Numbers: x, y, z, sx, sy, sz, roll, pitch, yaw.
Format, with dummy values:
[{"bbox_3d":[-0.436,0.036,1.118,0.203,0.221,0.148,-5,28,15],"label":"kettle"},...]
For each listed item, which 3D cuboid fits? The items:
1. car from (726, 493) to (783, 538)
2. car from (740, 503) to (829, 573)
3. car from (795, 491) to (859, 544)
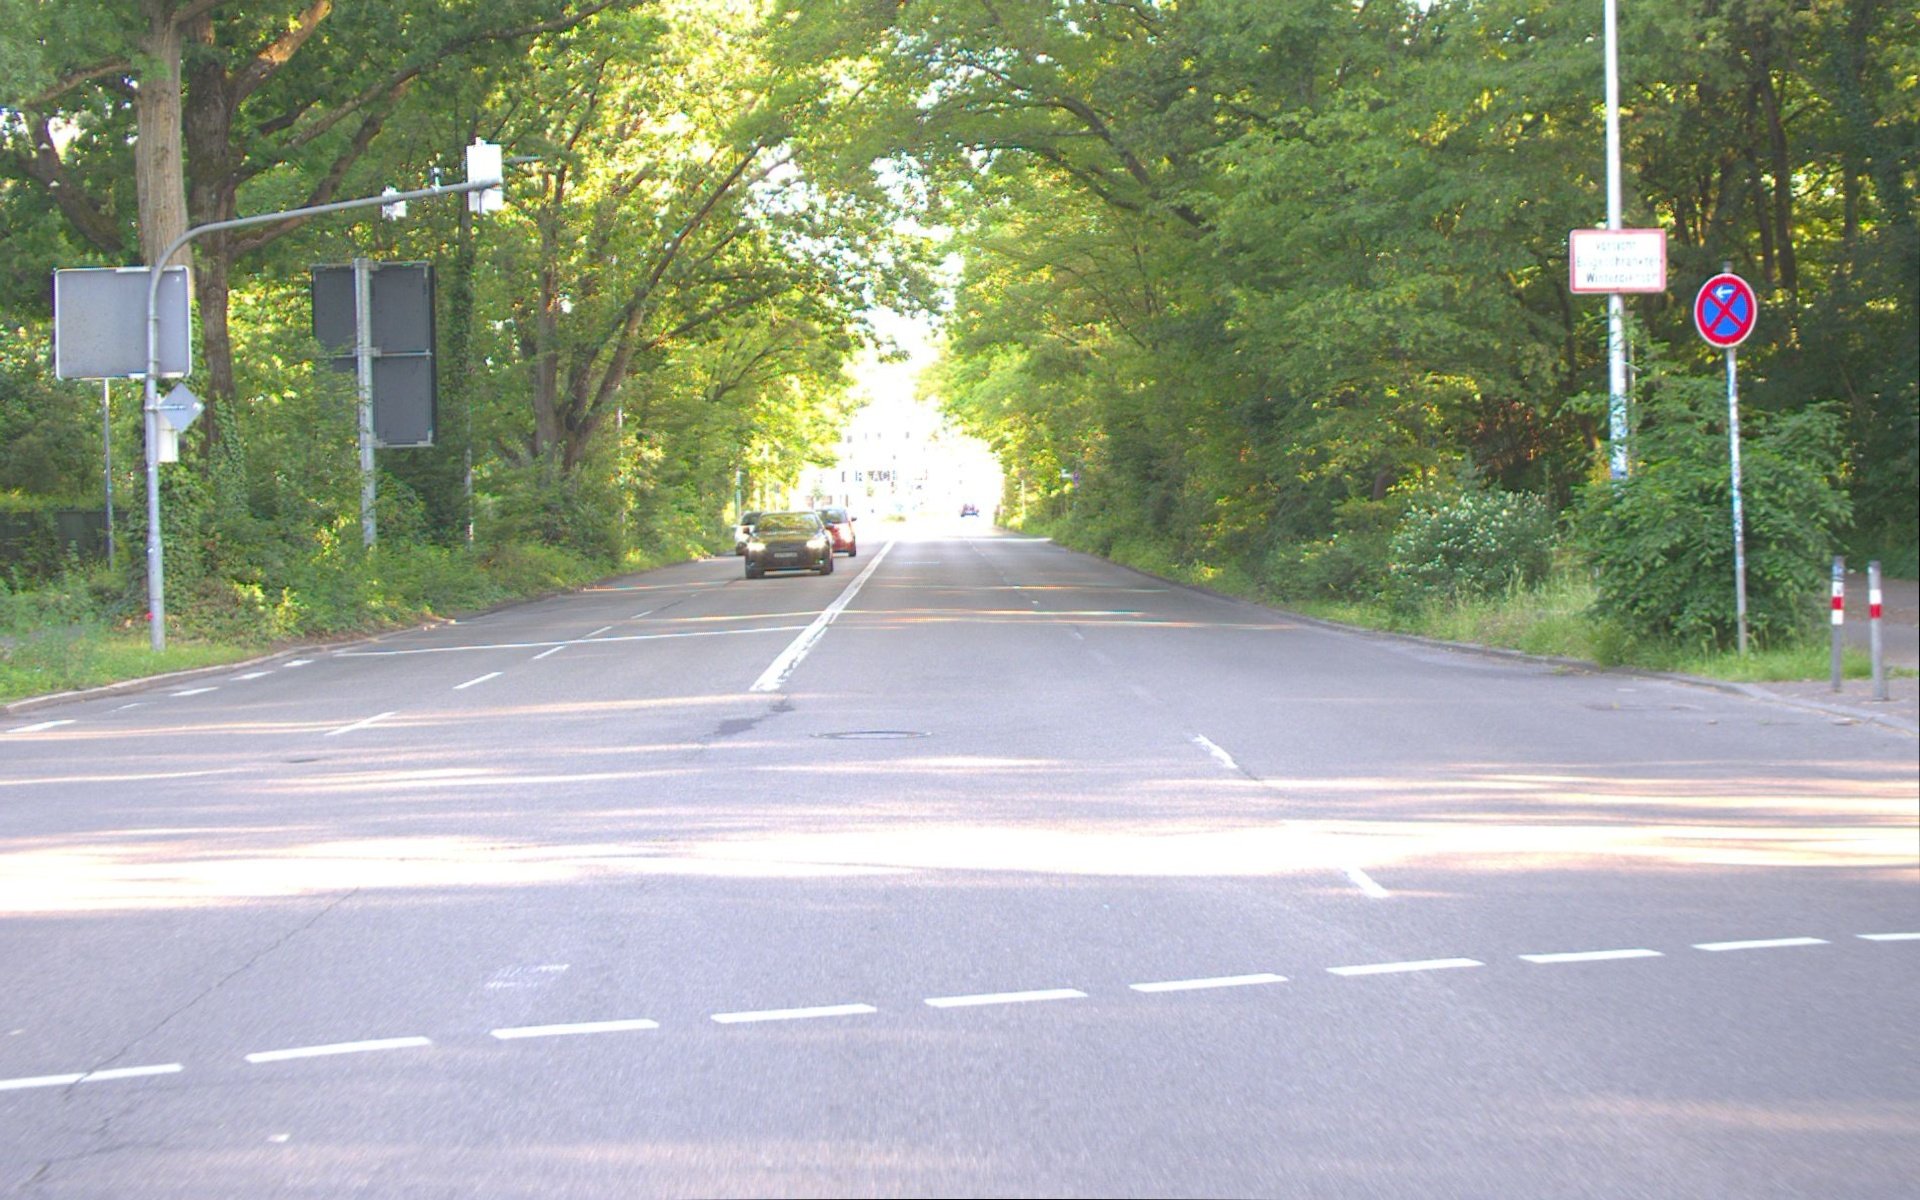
[{"bbox_3d":[-7.238,-2.987,121.355,1.797,1.501,4.365,-2,2,-1],"label":"car"},{"bbox_3d":[-3.974,-1.429,78.450,1.887,1.501,4.365,-2,2,-1],"label":"car"},{"bbox_3d":[-3.943,-2.470,102.307,1.797,1.501,4.365,-2,2,-1],"label":"car"}]
